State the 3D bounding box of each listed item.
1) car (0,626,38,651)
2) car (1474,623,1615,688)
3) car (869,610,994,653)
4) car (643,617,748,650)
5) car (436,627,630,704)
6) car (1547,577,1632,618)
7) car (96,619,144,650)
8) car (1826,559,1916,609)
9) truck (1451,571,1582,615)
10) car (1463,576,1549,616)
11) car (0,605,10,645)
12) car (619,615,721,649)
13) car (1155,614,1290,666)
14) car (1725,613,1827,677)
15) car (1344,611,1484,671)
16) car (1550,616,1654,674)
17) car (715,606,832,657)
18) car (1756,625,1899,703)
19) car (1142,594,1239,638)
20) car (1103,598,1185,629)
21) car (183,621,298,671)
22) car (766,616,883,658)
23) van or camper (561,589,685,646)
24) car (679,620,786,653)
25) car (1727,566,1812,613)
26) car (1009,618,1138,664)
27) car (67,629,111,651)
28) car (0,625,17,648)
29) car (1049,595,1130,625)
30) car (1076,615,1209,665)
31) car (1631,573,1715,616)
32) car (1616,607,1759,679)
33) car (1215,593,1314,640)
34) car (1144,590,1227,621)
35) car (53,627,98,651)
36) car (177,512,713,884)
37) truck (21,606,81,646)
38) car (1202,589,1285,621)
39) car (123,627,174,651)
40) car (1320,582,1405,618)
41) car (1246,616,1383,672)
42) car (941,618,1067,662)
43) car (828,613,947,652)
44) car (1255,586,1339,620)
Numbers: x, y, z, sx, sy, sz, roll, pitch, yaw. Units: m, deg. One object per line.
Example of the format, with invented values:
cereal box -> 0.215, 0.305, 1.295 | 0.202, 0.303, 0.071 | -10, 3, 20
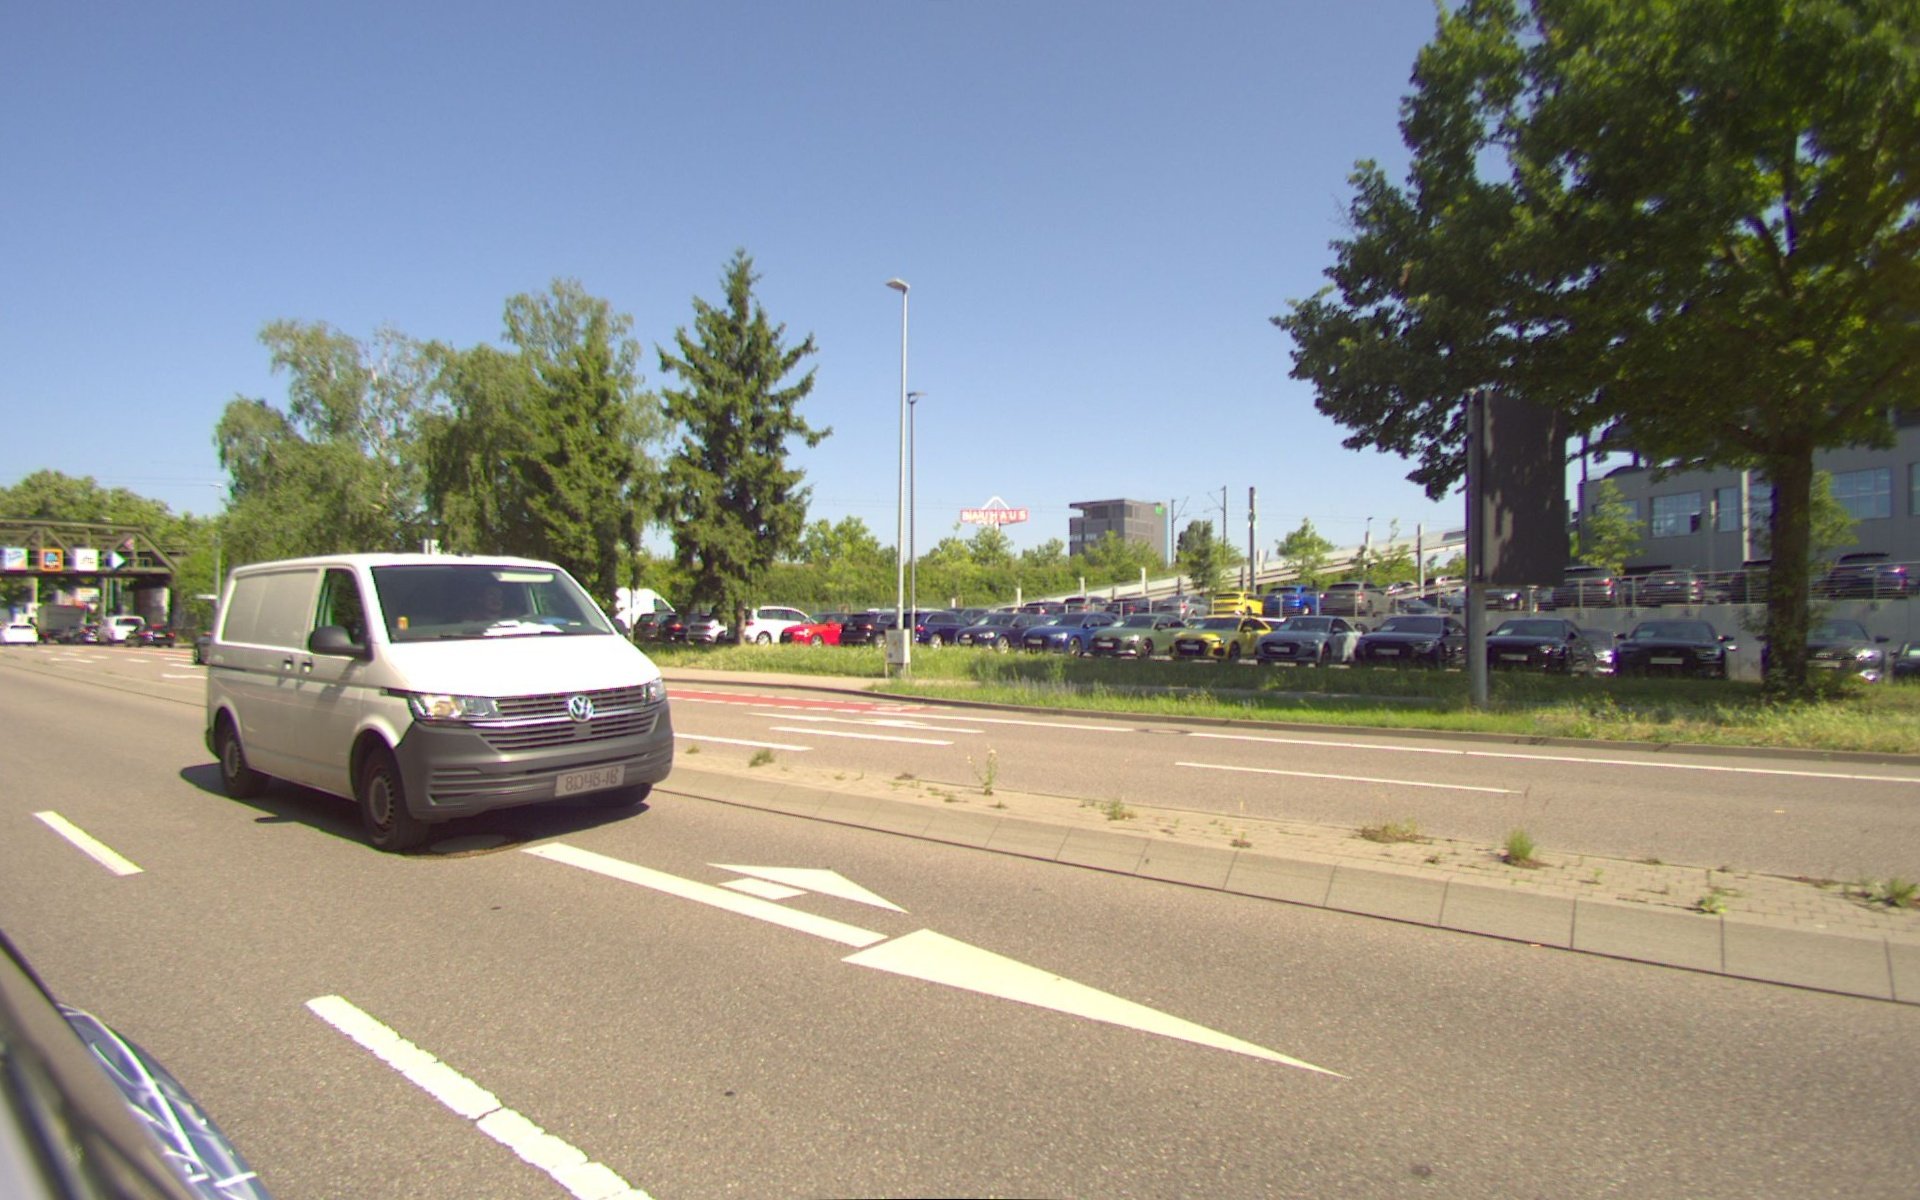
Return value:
car -> -60.413, 2.459, 64.705 | 3.825, 1.506, 1.626 | -3, -4, 40
car -> 13.577, 1.213, 23.402 | 1.954, 1.361, 4.220 | -1, -2, 42
car -> -0.929, 1.081, 34.937 | 1.954, 1.392, 4.220 | -1, -2, 42
car -> -11.349, 1.406, 43.510 | 4.039, 1.364, 1.745 | 1, -1, -44
car -> -8.771, 1.298, 20.712 | 3.990, 1.425, 1.768 | -1, -4, 35
car -> 22.606, -0.040, 36.289 | 1.953, 1.361, 4.221 | -1, -2, 41
car -> -56.239, 2.304, 67.714 | 1.971, 2.029, 5.349 | 2, -3, -45
car -> 28.229, -0.436, 31.462 | 1.953, 1.361, 4.221 | -1, -2, 41
truck -> 39.051, -0.417, 71.055 | 8.321, 2.939, 2.673 | 0, -2, -14
car -> 20.505, -0.109, 37.900 | 1.953, 1.361, 4.221 | -1, -2, 41
car -> -72.384, 1.836, 74.884 | 6.930, 2.827, 1.974 | -2, -4, 39
car -> -12.910, 1.430, 45.240 | 4.039, 1.449, 1.745 | 1, -2, -44
car -> 7.475, 1.099, 28.630 | 1.954, 1.361, 4.220 | -1, -2, 42
car -> 23.050, 1.223, 28.531 | 1.954, 1.655, 4.220 | -2, -2, 42
car -> 11.314, 0.972, 25.074 | 1.954, 1.361, 4.220 | -1, -2, 42
car -> 19.671, 1.324, 30.938 | 1.954, 1.655, 4.220 | -2, -2, 42
car -> -7.317, 1.226, 39.966 | 1.954, 1.899, 4.220 | -2, -2, 42
car -> 17.221, 1.188, 20.057 | 1.954, 1.361, 4.220 | -1, -2, 42
car -> 9.203, 0.650, 40.254 | 1.954, 1.655, 4.220 | -2, -2, 42
car -> 8.752, 0.664, 47.878 | 1.953, 1.361, 4.221 | -1, -2, 41
car -> -23.109, 1.450, 32.436 | 4.997, 1.474, 1.822 | -1, -4, 41
car -> -5.151, 1.399, 38.918 | 1.954, 1.515, 4.220 | -1, -2, 42
van or camper -> -15.855, 0.786, 47.909 | 1.997, 2.489, 5.327 | -3, -1, 38
car -> -9.255, 1.463, 41.360 | 1.743, 1.303, 4.043 | -1, -2, 42
car -> 26.385, -0.298, 32.938 | 1.953, 1.361, 4.221 | -1, -2, 41
car -> 3.626, 1.251, 31.880 | 1.954, 1.361, 4.220 | -1, -2, 42
car -> -62.784, 2.881, 72.935 | 4.175, 1.506, 1.750 | -3, -5, 41
car -> -66.723, 2.516, 69.969 | 4.175, 1.506, 1.750 | -3, -5, 41
car -> 6.389, 0.521, 49.712 | 1.953, 1.361, 4.221 | -1, -2, 41
car -> 5.488, 1.157, 30.162 | 1.954, 1.361, 4.220 | -1, -2, 42
car -> 24.853, -0.159, 35.236 | 1.953, 1.361, 4.221 | -1, -2, 41
car -> 15.423, 0.859, 21.374 | 1.954, 1.361, 4.220 | -1, -2, 42
car -> 11.545, 0.637, 38.276 | 1.954, 1.655, 4.220 | -2, -2, 42
car -> 10.362, 0.285, 46.410 | 1.953, 1.361, 4.221 | -1, -2, 41
car -> -67.459, 3.016, 77.184 | 4.285, 1.703, 1.963 | -3, -5, 41
car -> -4.189, 0.596, 7.796 | 4.970, 2.009, 1.863 | -2, -2, 40
truck -> -73.566, 2.075, 81.883 | 7.058, 3.112, 2.319 | -1, -2, 37
car -> 12.664, 0.255, 45.102 | 1.953, 1.361, 4.221 | -1, -2, 41
car -> -49.324, 2.349, 61.503 | 1.970, 1.424, 4.685 | 2, -2, -44
car -> 16.572, 0.051, 41.586 | 1.953, 1.361, 4.221 | -1, -2, 41
car -> 9.501, 1.135, 26.943 | 1.954, 1.361, 4.220 | -1, -2, 42
car -> 1.514, 1.292, 33.633 | 1.954, 1.361, 4.220 | -1, -2, 42
car -> -2.606, 1.188, 37.138 | 1.954, 1.338, 4.220 | -1, -2, 42
car -> 14.511, 0.160, 43.508 | 1.953, 1.361, 4.221 | -1, -2, 41
